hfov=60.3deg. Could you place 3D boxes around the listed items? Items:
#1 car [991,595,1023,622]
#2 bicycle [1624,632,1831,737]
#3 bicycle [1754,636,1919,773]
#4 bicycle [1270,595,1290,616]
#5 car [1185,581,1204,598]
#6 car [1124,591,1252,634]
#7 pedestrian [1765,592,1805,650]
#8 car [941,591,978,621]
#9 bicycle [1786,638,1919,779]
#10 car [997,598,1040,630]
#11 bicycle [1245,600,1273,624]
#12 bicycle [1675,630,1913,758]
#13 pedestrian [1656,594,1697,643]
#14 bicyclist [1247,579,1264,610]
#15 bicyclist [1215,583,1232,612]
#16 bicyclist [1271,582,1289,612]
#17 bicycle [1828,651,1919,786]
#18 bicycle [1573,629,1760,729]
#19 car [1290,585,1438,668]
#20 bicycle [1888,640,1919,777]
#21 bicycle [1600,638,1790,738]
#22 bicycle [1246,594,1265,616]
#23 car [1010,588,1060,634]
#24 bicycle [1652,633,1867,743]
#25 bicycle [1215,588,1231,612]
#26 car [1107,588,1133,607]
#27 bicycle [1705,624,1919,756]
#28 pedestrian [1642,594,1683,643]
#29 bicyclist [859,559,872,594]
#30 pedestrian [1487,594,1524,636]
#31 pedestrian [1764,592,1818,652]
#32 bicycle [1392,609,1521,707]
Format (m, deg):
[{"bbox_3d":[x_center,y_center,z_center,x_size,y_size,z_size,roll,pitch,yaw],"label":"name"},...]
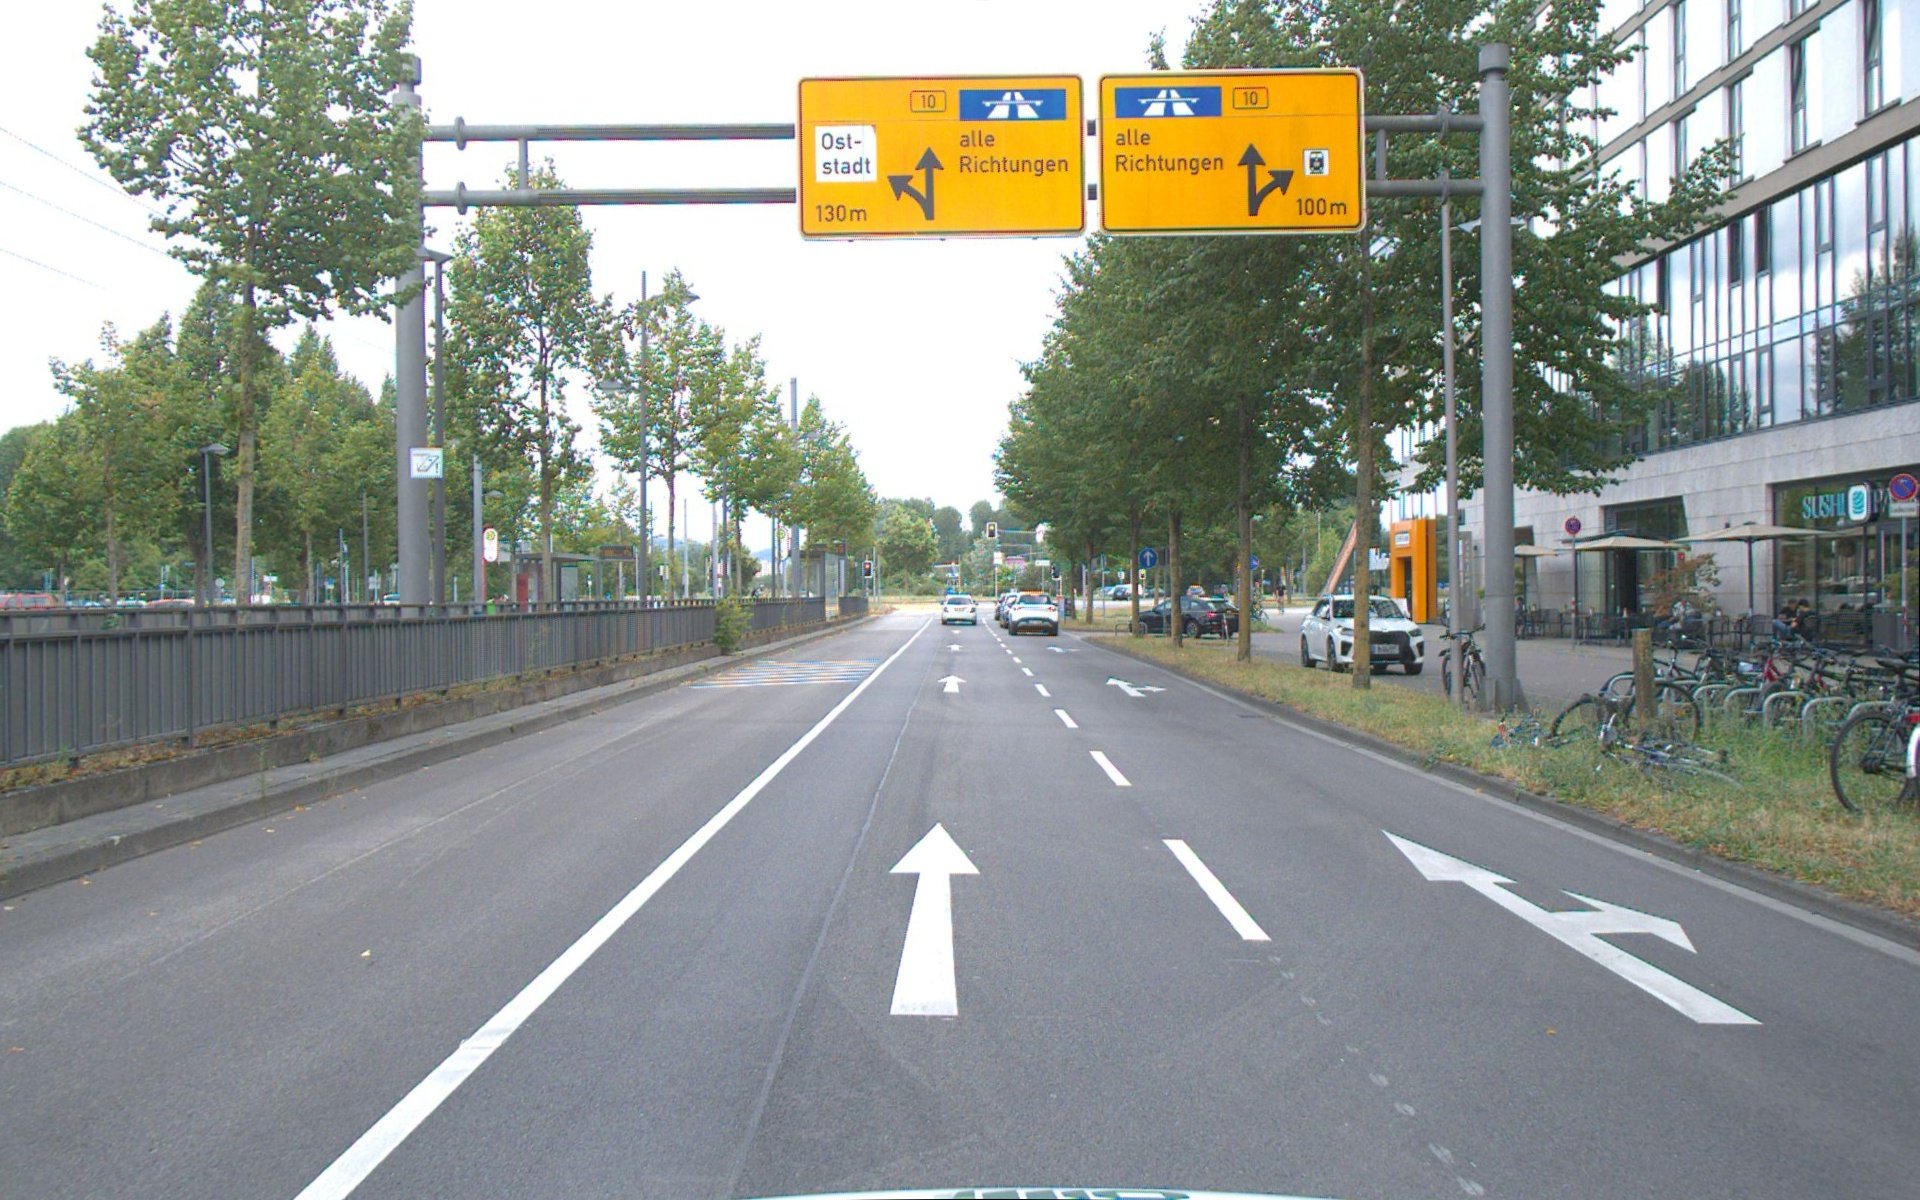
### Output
[{"bbox_3d":[2.636,0.480,93.893,1.592,1.474,3.909,1,0,-2],"label":"car"},{"bbox_3d":[7.912,0.867,17.083,1.823,0.968,0.652,3,0,-3],"label":"bicycle"},{"bbox_3d":[7.846,0.902,14.158,1.894,1.084,0.543,3,0,-9],"label":"bicycle"},{"bbox_3d":[16.905,0.286,87.368,0.659,1.060,2.007,-1,0,0],"label":"bicycle"},{"bbox_3d":[22.952,-1.024,161.886,1.745,1.664,4.406,0,1,10],"label":"car"},{"bbox_3d":[8.260,0.457,60.304,1.925,1.501,4.811,-1,0,-34],"label":"car"},{"bbox_3d":[17.704,0.447,35.503,0.704,1.213,0.759,-1,0,22],"label":"pedestrian"},{"bbox_3d":[-0.060,0.296,82.978,1.738,1.474,3.909,-1,0,-2],"label":"car"},{"bbox_3d":[7.837,0.899,13.579,1.894,1.084,0.543,3,0,-9],"label":"bicycle"},{"bbox_3d":[2.729,0.633,78.303,1.751,1.457,4.309,0,0,-2],"label":"car"},{"bbox_3d":[12.514,0.481,69.326,0.617,0.972,2.106,-1,0,-4],"label":"bicycle"},{"bbox_3d":[7.870,0.878,15.649,1.891,1.084,0.704,3,0,-3],"label":"bicycle"},{"bbox_3d":[17.848,0.454,41.216,0.704,1.213,0.759,-1,0,1],"label":"pedestrian"},{"bbox_3d":[15.667,-0.281,87.650,0.710,1.610,0.989,0,0,-1],"label":"bicyclist"},{"bbox_3d":[16.846,-0.157,105.757,0.849,1.820,1.174,-1,0,-1],"label":"bicyclist"},{"bbox_3d":[16.940,-0.162,87.525,0.709,1.610,0.990,-1,0,0],"label":"bicyclist"},{"bbox_3d":[7.781,0.940,12.932,1.711,0.991,0.608,3,0,-9],"label":"bicycle"},{"bbox_3d":[7.890,0.876,18.498,1.823,1.012,0.574,3,0,-3],"label":"bicycle"},{"bbox_3d":[8.286,0.495,34.330,1.898,1.579,4.593,-1,0,-1],"label":"car"},{"bbox_3d":[7.911,0.841,12.313,1.711,0.991,0.608,3,0,-9],"label":"bicycle"},{"bbox_3d":[7.914,0.945,17.832,1.823,0.968,0.501,3,0,-3],"label":"bicycle"},{"bbox_3d":[15.685,0.255,87.825,0.659,1.163,2.007,-1,0,0],"label":"bicycle"},{"bbox_3d":[2.846,0.420,63.625,1.742,1.685,4.023,-1,0,0],"label":"car"},{"bbox_3d":[7.881,0.862,16.341,1.823,0.968,0.612,3,0,-3],"label":"bicycle"},{"bbox_3d":[16.811,-0.012,105.752,0.690,1.532,2.007,-1,0,0],"label":"bicycle"},{"bbox_3d":[16.144,-0.253,167.377,1.954,1.822,3.997,2,0,-4],"label":"car"},{"bbox_3d":[7.803,0.803,14.888,1.891,1.084,0.641,3,0,-3],"label":"bicycle"},{"bbox_3d":[17.857,0.459,42.068,0.704,1.213,0.759,-1,0,-1],"label":"pedestrian"},{"bbox_3d":[-5.595,-1.404,97.488,0.714,1.914,0.735,-1,13,-5],"label":"bicyclist"},{"bbox_3d":[16.766,0.460,50.867,0.879,1.250,0.951,-1,0,5],"label":"pedestrian"},{"bbox_3d":[17.047,0.446,33.936,0.756,1.213,1.107,-1,0,15],"label":"pedestrian"},{"bbox_3d":[6.338,0.713,21.232,0.696,1.135,2.199,2,0,-8],"label":"bicycle"}]
